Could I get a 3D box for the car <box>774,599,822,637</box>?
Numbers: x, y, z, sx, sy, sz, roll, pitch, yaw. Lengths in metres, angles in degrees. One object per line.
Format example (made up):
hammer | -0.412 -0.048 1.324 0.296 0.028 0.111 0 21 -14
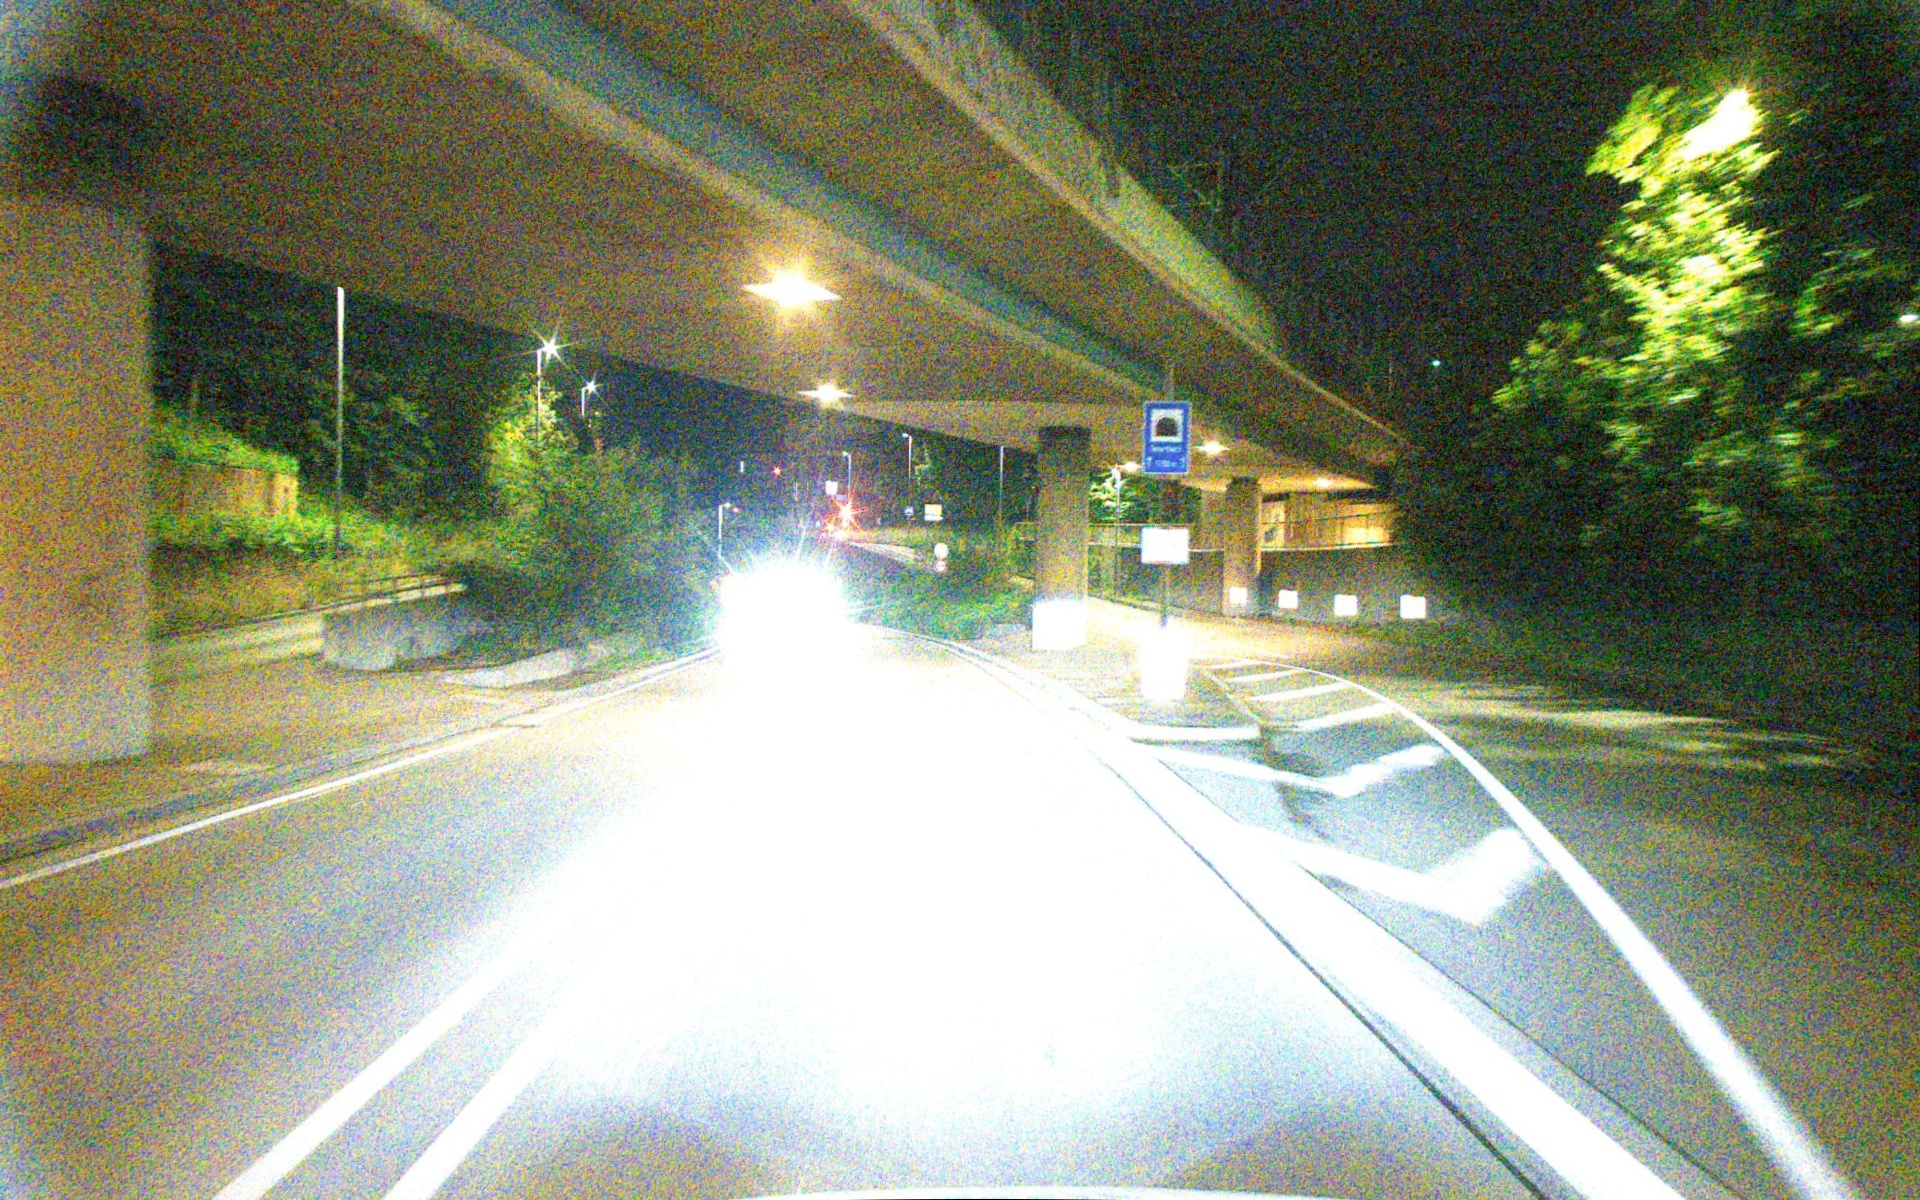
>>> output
car | -6.592 0.754 67.663 1.752 1.473 4.169 1 -1 -3
